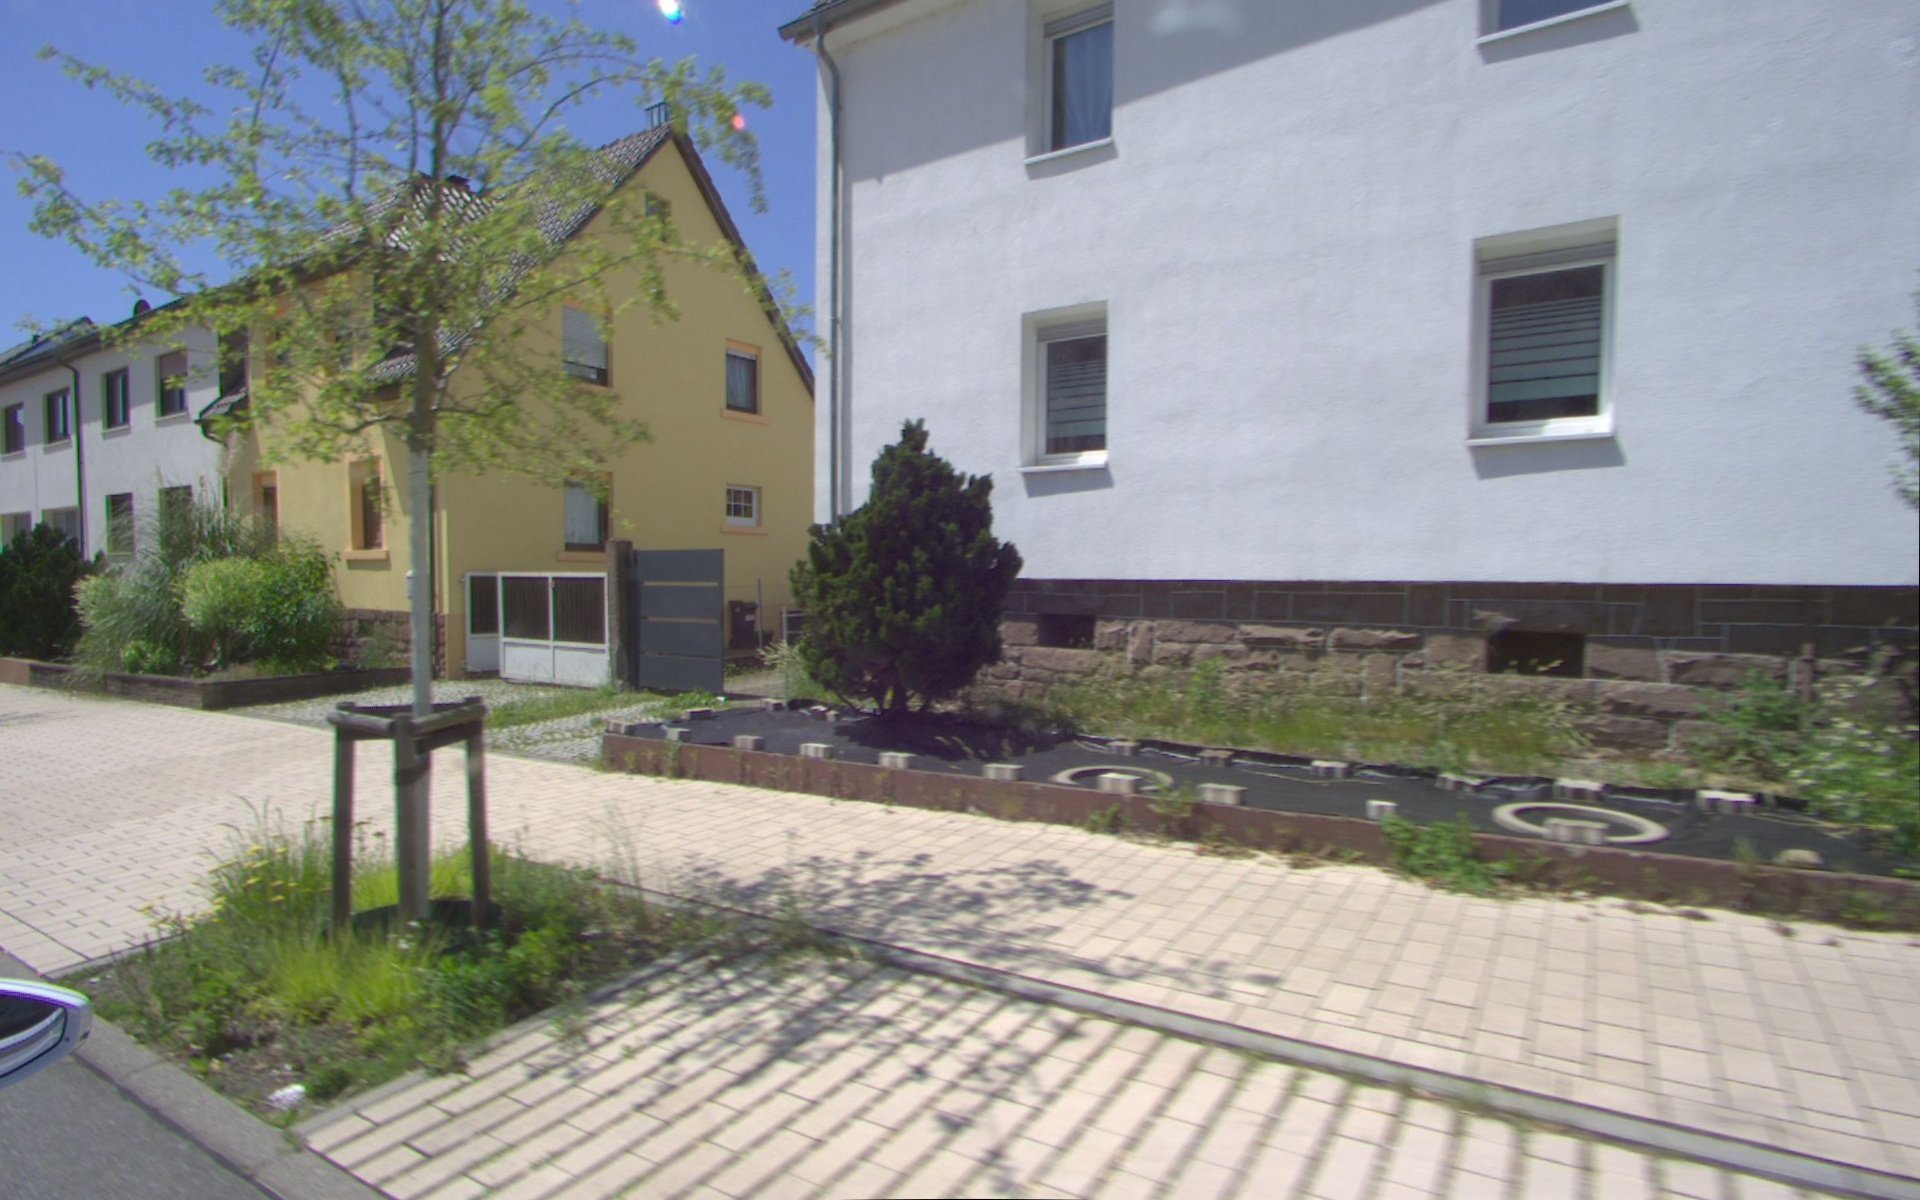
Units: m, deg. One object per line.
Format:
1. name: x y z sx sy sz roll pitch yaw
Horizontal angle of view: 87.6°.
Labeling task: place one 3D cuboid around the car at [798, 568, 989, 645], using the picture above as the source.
1. car: -1.289 0.101 21.081 1.893 1.459 4.137 0 1 34

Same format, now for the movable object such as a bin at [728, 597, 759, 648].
1. movable object such as a bin: -4.272 0.433 19.777 0.447 0.977 0.399 2 3 33
